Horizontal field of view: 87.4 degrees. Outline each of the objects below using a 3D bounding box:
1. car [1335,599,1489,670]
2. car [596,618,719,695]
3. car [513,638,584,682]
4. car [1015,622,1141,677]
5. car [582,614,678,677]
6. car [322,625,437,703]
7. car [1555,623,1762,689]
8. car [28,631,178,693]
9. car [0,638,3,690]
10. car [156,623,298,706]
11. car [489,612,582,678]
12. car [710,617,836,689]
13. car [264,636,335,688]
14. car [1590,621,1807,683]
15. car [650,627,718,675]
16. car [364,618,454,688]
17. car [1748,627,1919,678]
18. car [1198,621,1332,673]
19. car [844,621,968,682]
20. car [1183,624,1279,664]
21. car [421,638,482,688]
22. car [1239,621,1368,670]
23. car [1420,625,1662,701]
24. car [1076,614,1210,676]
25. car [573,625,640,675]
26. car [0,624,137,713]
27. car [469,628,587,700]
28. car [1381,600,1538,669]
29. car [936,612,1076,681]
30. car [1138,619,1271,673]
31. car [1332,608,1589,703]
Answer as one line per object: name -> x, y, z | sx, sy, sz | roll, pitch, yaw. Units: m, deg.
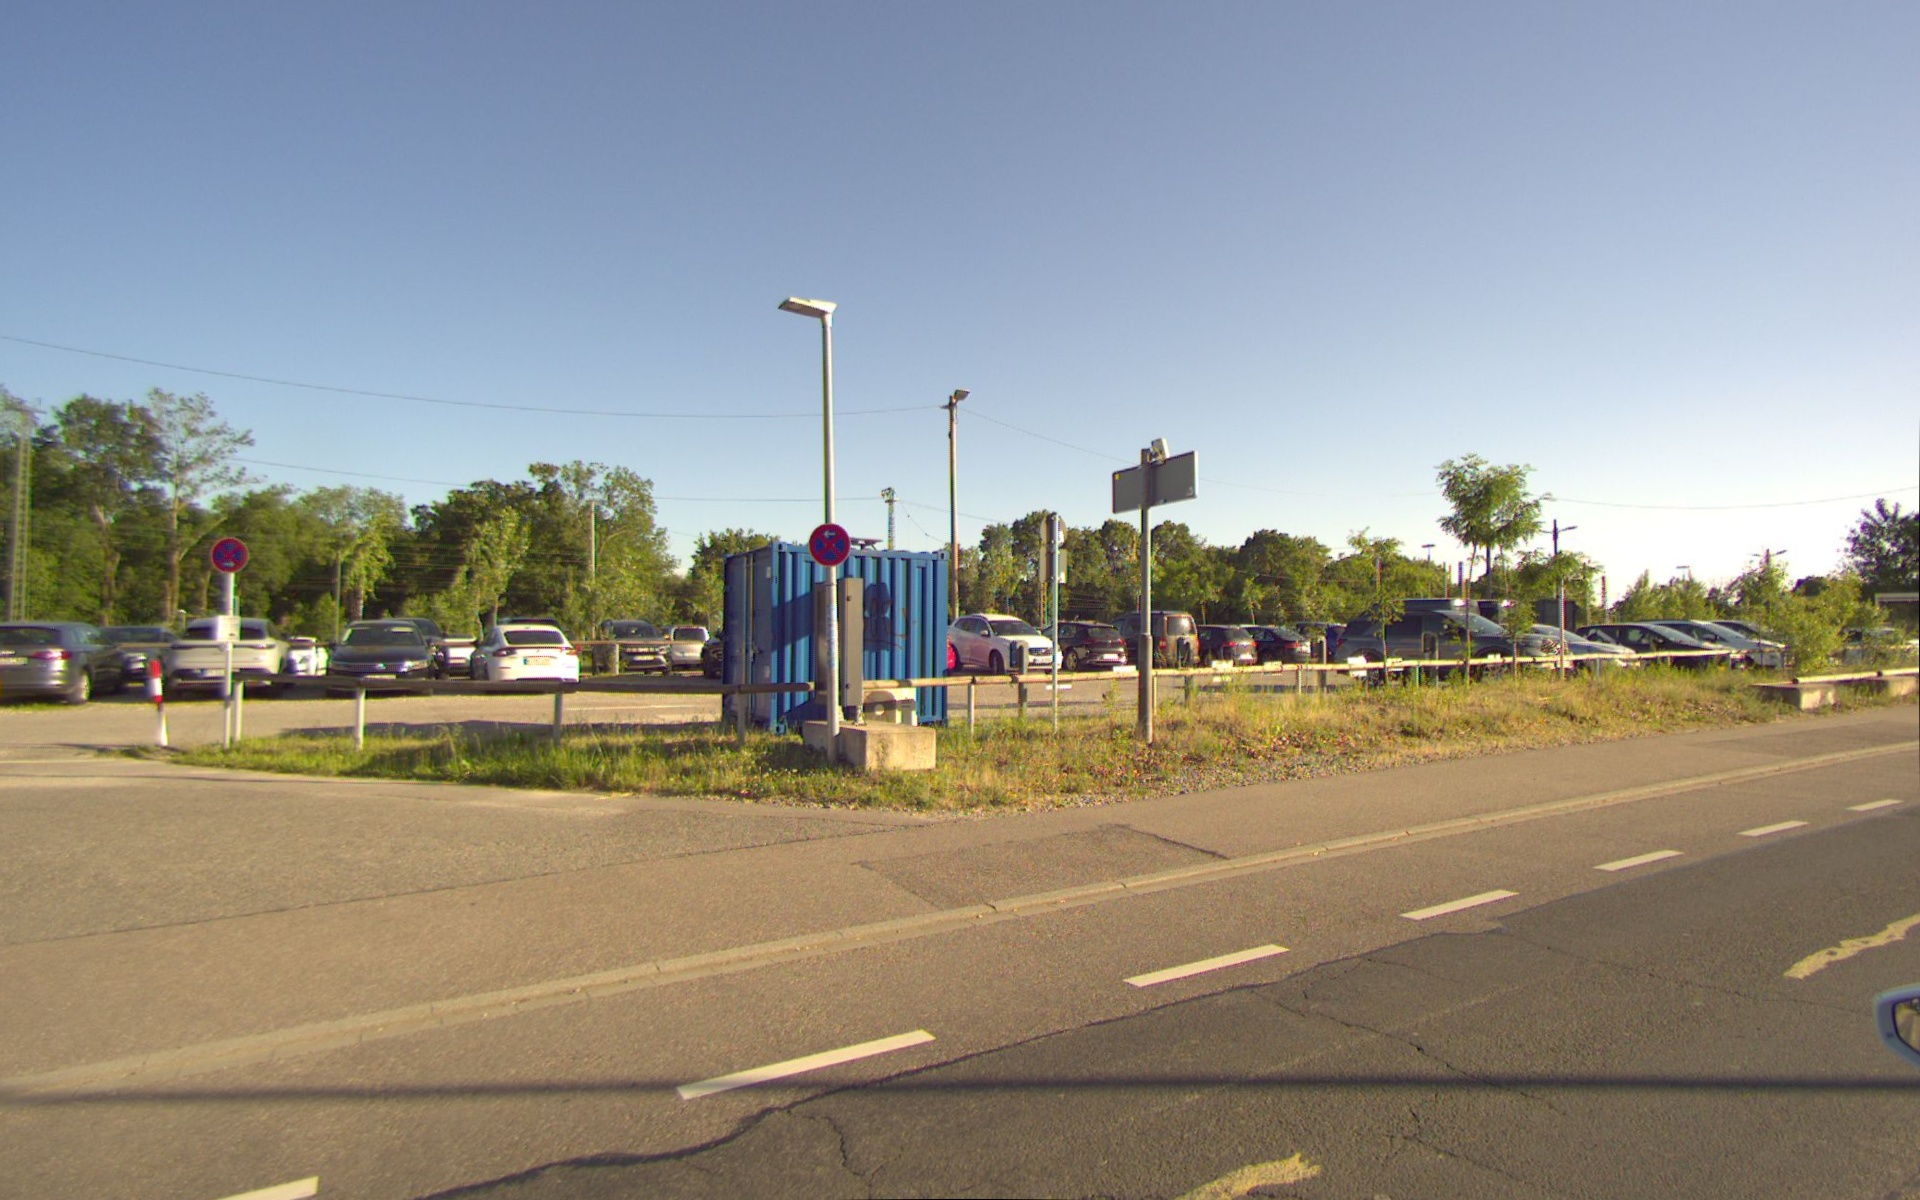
car -> 16.964, 1.272, 37.922 | 2.293, 2.492, 4.902 | 1, -1, -31
car -> -7.098, 1.238, 23.331 | 1.857, 1.625, 3.863 | 1, -1, -31
car -> -15.189, 2.179, 36.993 | 1.857, 1.455, 3.863 | 1, -1, -31
car -> 3.515, 1.456, 30.543 | 1.857, 1.540, 3.863 | 1, -1, -31
car -> -9.368, 1.234, 28.317 | 1.786, 1.625, 3.863 | 1, -1, -31
car -> -11.915, 1.228, 20.613 | 1.857, 1.394, 4.300 | 1, -1, -31
car -> 18.099, 1.394, 26.225 | 1.857, 1.578, 4.068 | 1, -1, -31
car -> -19.020, 1.324, 22.481 | 1.856, 1.203, 3.844 | 1, -1, -30
car -> -28.995, 1.912, 28.520 | 1.733, 1.574, 3.815 | 1, -1, -30
car -> -14.371, 1.191, 19.920 | 1.857, 1.438, 4.300 | 1, -1, -31
car -> -11.488, 1.165, 27.039 | 1.856, 1.625, 3.865 | 1, -1, -30
car -> -4.695, 1.247, 24.867 | 1.857, 1.625, 3.863 | 1, -1, -31
car -> -21.883, 2.007, 33.394 | 1.733, 1.574, 3.705 | 1, -1, -30
car -> 20.343, 1.366, 27.886 | 1.857, 1.578, 4.519 | 1, -1, -31
car -> -10.993, 1.992, 39.897 | 1.733, 1.794, 3.705 | 1, -1, -30
car -> -14.045, 1.285, 25.558 | 1.856, 1.625, 3.865 | 1, -1, -30
car -> 29.692, 1.712, 34.012 | 1.857, 1.578, 4.403 | 1, -1, -31
car -> 10.327, 1.559, 34.343 | 1.857, 1.639, 4.300 | 1, -1, -31
car -> -1.556, 1.349, 27.616 | 1.857, 1.540, 3.863 | 1, -1, -31
car -> 11.581, 1.865, 43.135 | 1.687, 1.615, 3.969 | 2, -2, -29
car -> -17.939, 2.163, 35.378 | 1.733, 1.574, 3.705 | 1, -1, -30
car -> 12.248, 1.578, 36.048 | 1.857, 1.639, 4.186 | 1, -1, -31
car -> 13.454, 1.389, 23.561 | 1.977, 1.578, 4.571 | 1, -1, -31
car -> 5.727, 1.372, 31.918 | 1.857, 1.815, 4.300 | 1, -1, -31
car -> -13.479, 1.854, 38.184 | 1.733, 1.794, 3.705 | 1, -1, -30
car -> -16.528, 1.155, 18.203 | 1.857, 1.438, 4.300 | 1, -1, -31
car -> -9.597, 1.331, 22.122 | 1.857, 1.394, 4.300 | 1, -1, -31
car -> 19.330, 1.311, 39.101 | 2.293, 2.492, 5.071 | 1, -1, -31
car -> 1.198, 1.255, 28.495 | 2.031, 1.764, 4.564 | 1, -1, -26
car -> 8.022, 1.472, 33.345 | 1.857, 1.639, 4.300 | 1, -1, -31
car -> 10.854, 1.143, 22.183 | 1.977, 1.859, 4.821 | 1, -1, -31
